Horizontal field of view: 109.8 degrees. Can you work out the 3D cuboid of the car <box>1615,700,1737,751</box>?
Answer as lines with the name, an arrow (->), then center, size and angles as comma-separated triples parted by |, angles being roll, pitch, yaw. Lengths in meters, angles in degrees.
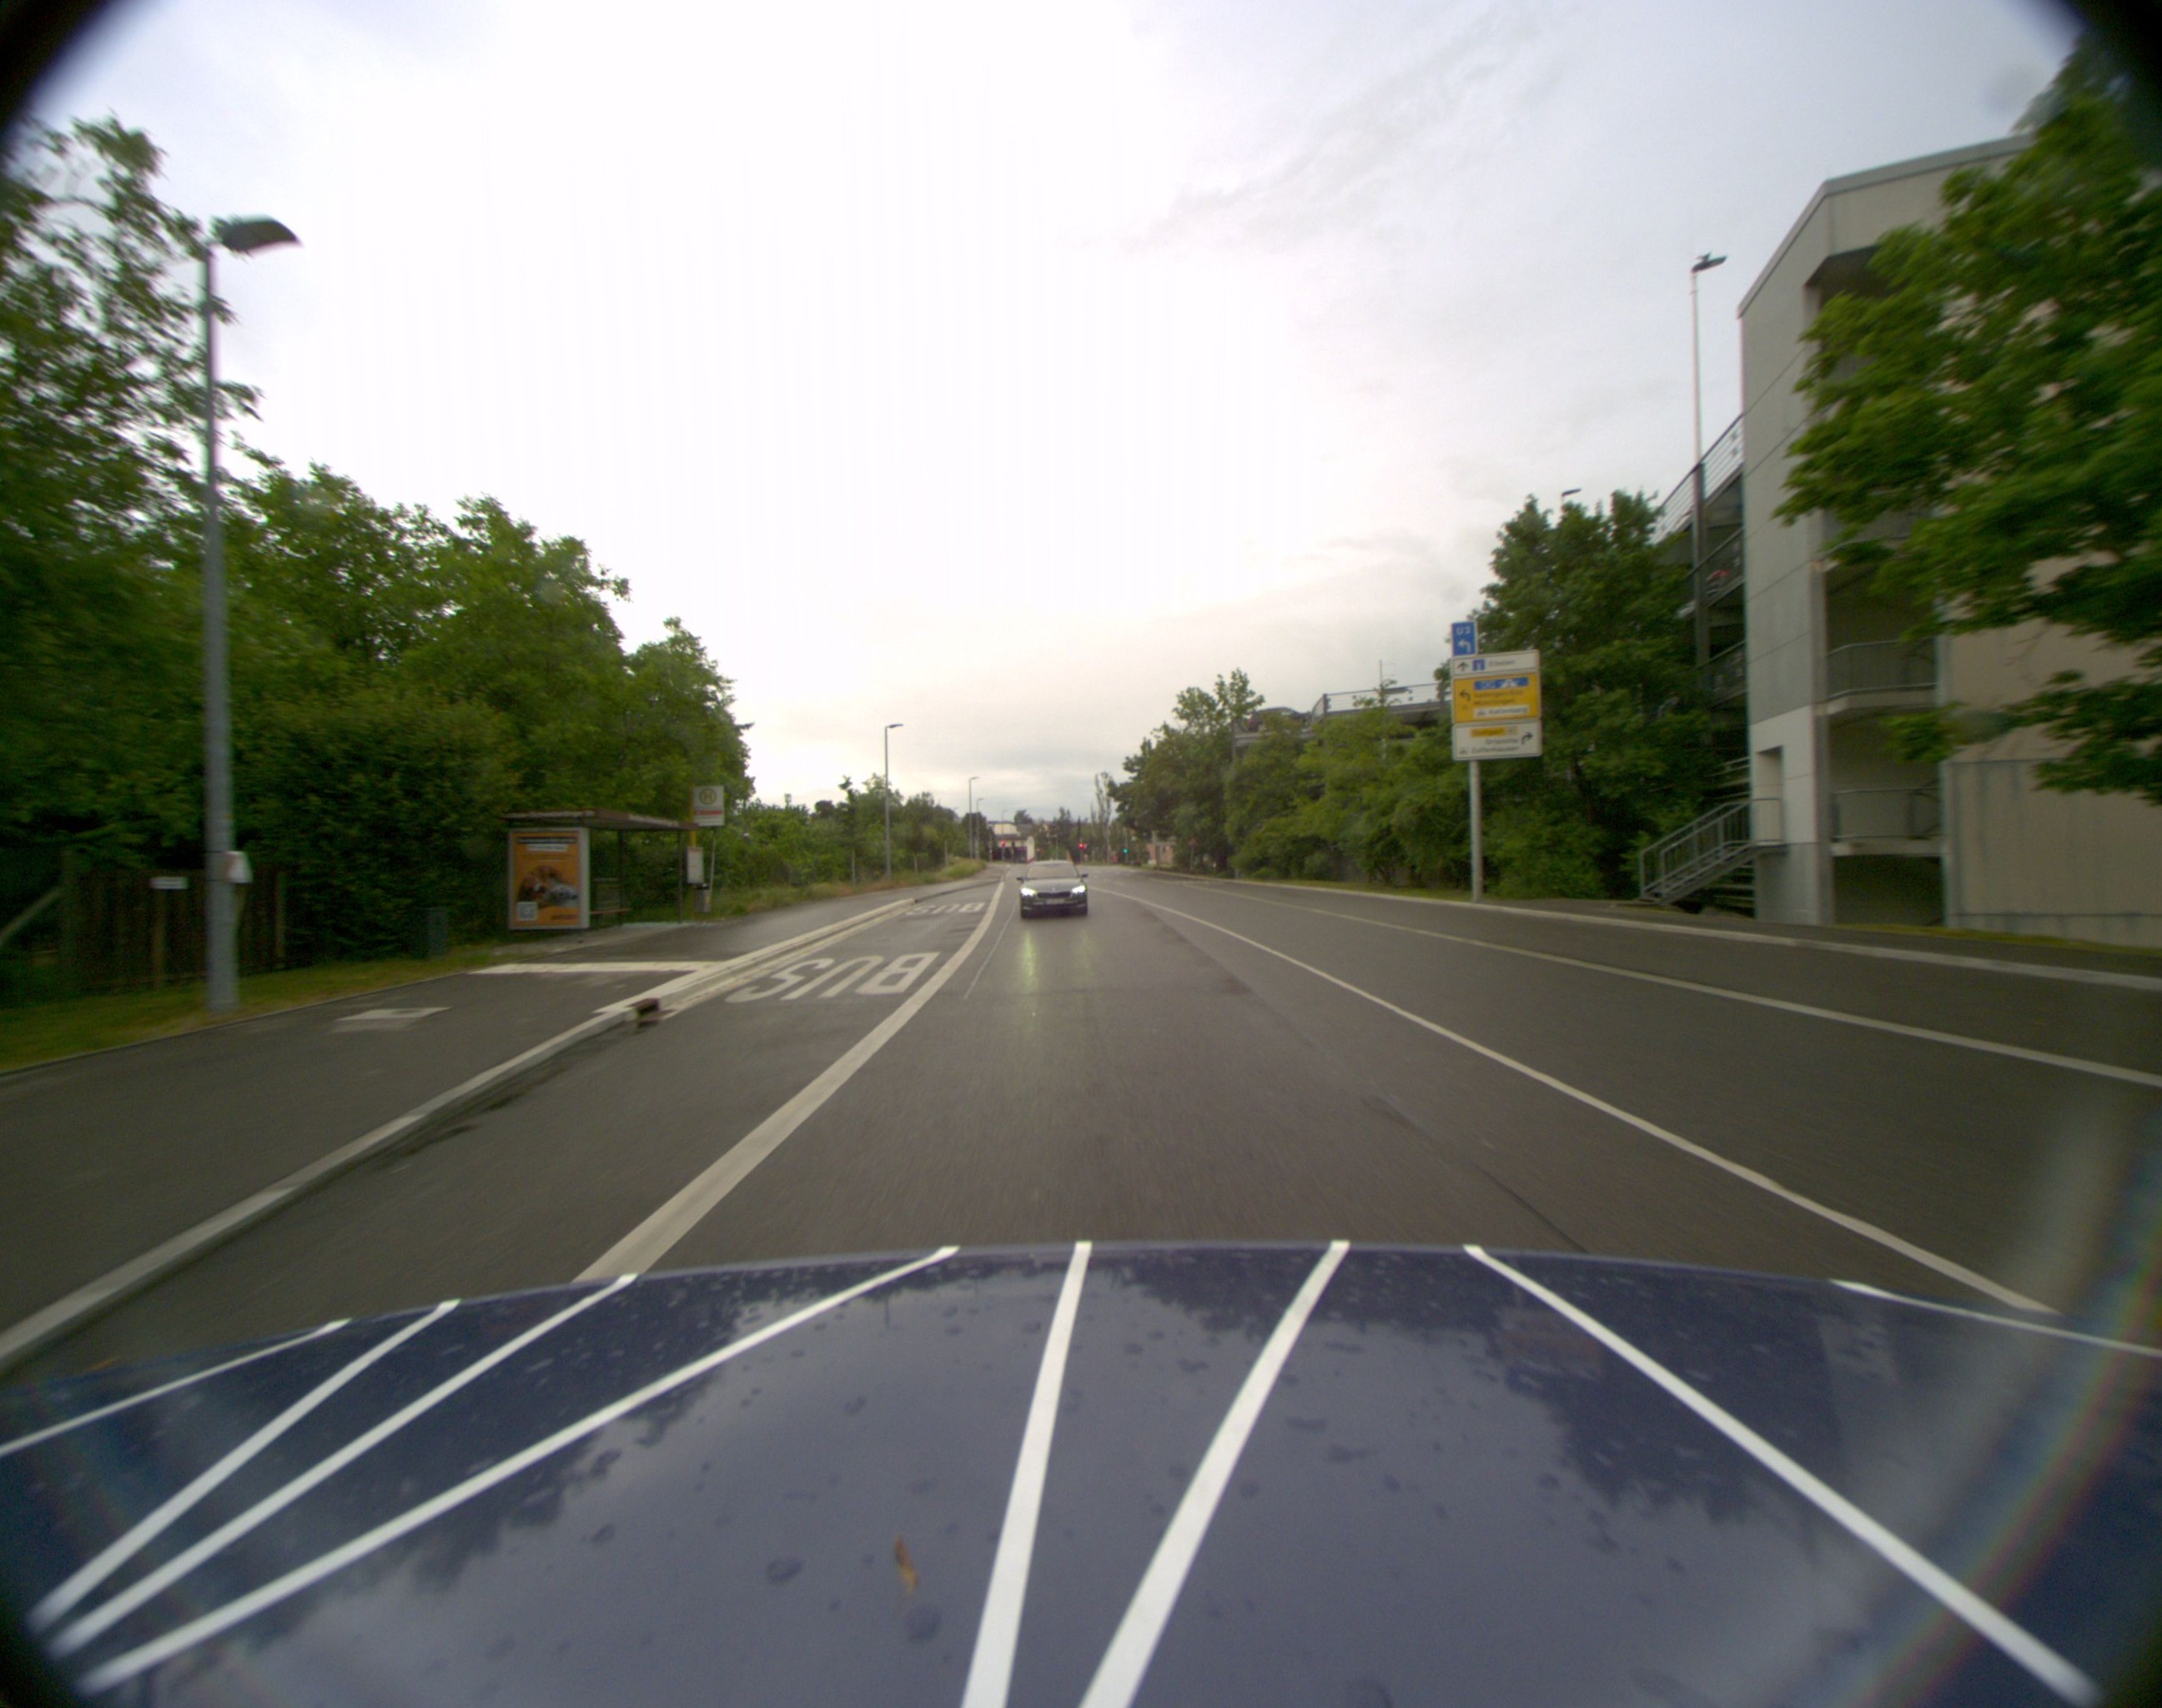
car -> 22.257, -4.785, 28.529 | 3.237, 1.510, 1.588 | 0, 0, 17

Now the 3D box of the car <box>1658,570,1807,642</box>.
car -> 20.767, -7.879, 24.350 | 3.237, 1.510, 1.588 | 0, 0, 17

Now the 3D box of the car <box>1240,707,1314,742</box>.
car -> 11.677, -7.684, 45.298 | 3.990, 1.510, 2.003 | 0, 0, 24

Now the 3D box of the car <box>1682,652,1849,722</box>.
car -> 19.886, -4.837, 22.226 | 3.237, 1.510, 1.588 | 0, 0, 17

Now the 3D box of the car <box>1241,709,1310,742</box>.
car -> 12.590, -8.277, 49.158 | 3.990, 1.510, 2.003 | 0, 0, 24

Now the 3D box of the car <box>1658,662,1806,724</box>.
car -> 20.760, -5.113, 24.367 | 3.237, 1.510, 1.588 | 0, 0, 17

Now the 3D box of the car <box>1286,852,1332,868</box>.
car -> 21.735, 0.553, 72.334 | 3.990, 1.510, 2.003 | 0, 0, 24

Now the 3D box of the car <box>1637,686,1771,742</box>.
car -> 21.677, -4.863, 26.563 | 3.237, 1.510, 1.588 | 0, 0, 17

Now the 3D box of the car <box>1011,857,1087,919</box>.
car -> -0.787, 0.876, 21.244 | 1.839, 1.448, 4.202 | -3, 0, 1

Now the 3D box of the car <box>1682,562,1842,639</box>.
car -> 20.569, -7.640, 23.097 | 3.237, 1.510, 1.588 | 0, 0, 17

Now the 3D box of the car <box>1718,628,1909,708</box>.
car -> 19.182, -4.846, 20.059 | 3.237, 1.510, 1.588 | 0, 0, 17

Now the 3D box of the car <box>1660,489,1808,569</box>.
car -> 20.912, -10.410, 24.474 | 3.237, 1.510, 1.588 | 0, 0, 17
